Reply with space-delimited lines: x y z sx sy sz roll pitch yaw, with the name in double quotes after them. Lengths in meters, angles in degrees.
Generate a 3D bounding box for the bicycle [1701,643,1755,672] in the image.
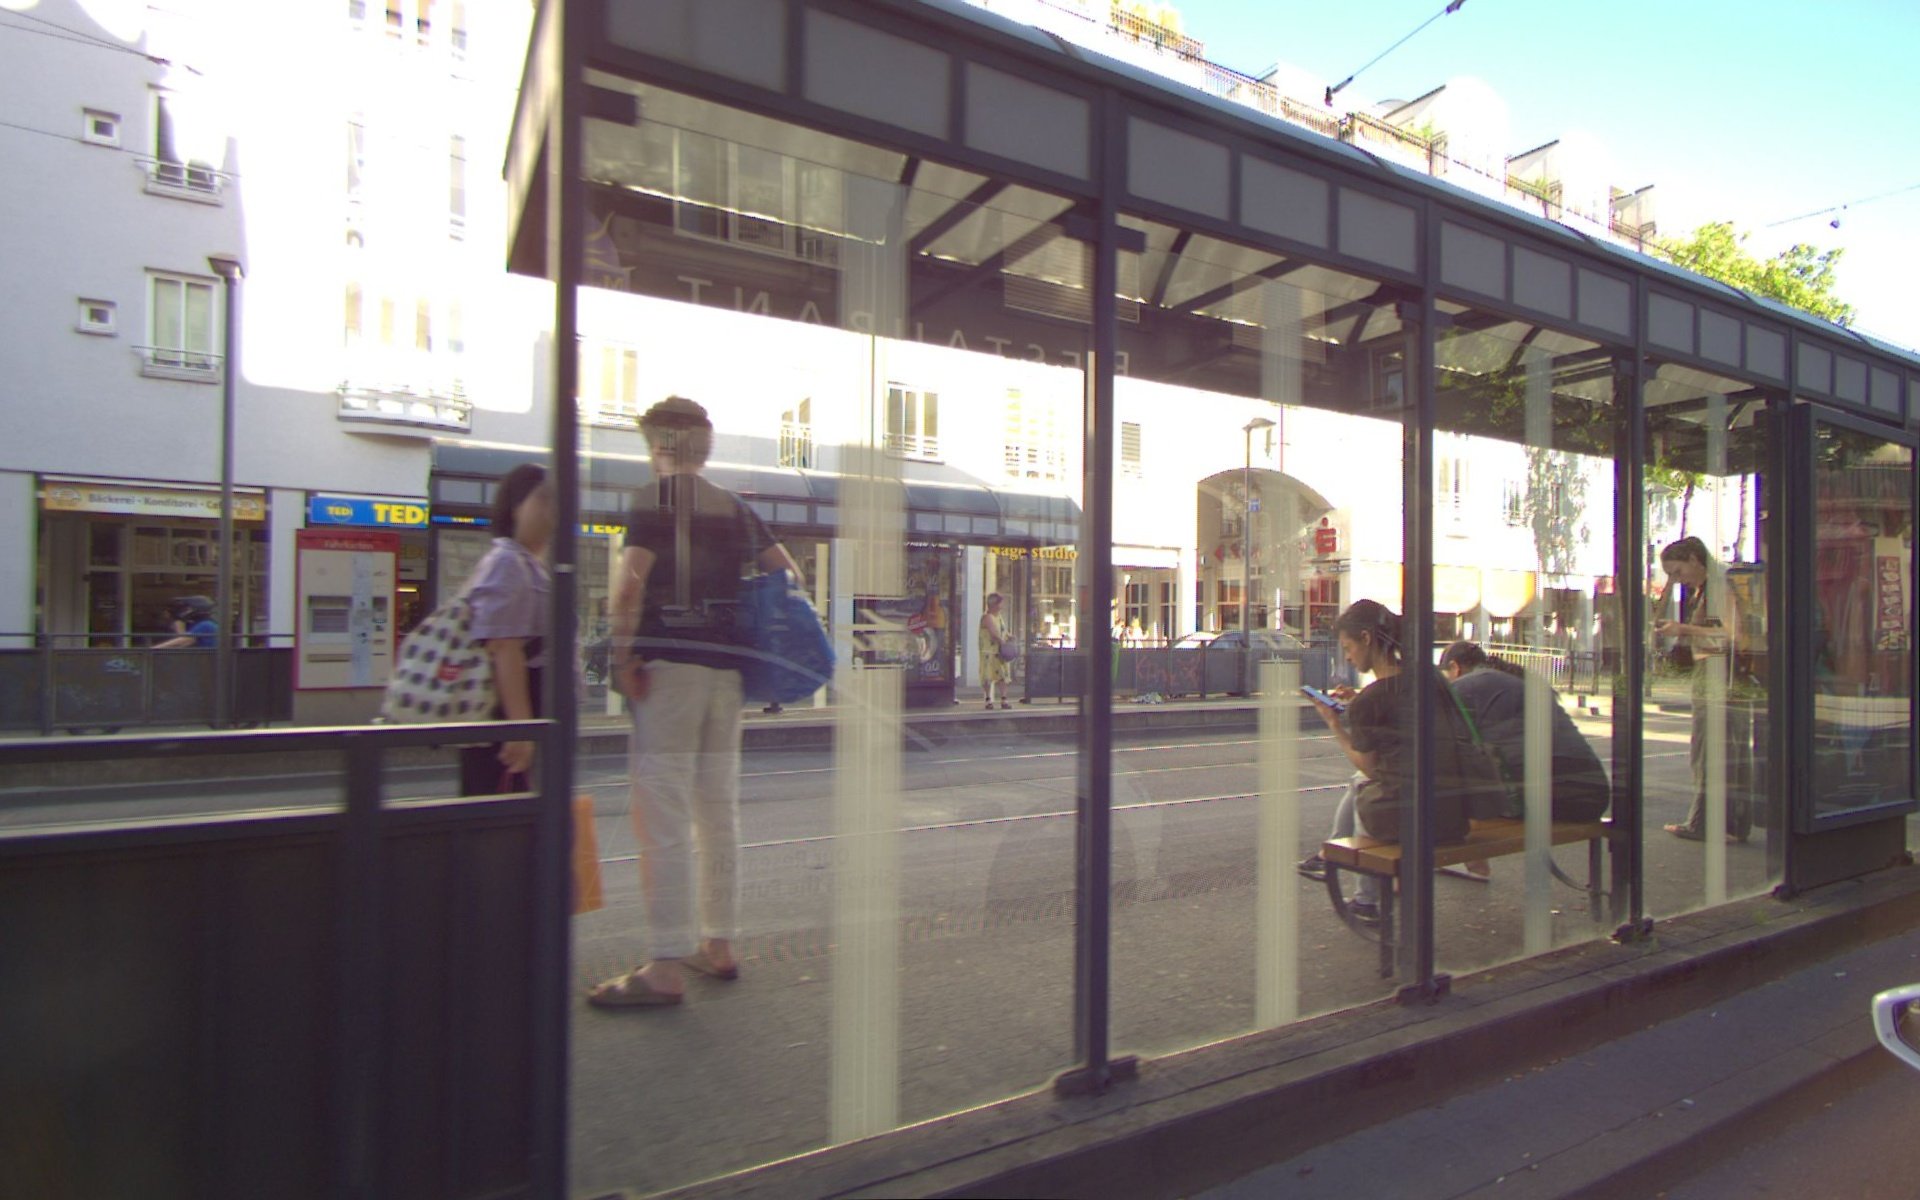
26.354 1.981 34.468 1.465 0.953 0.393 1 -1 5 "bicycle"

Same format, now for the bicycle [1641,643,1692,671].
24.930 2.017 35.430 1.465 0.953 0.393 1 -1 5 "bicycle"

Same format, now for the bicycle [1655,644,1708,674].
24.845 2.027 34.588 1.465 0.953 0.393 1 -1 5 "bicycle"

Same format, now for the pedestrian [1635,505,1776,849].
4.154 0.403 5.641 0.555 1.774 0.718 0 -1 31 "pedestrian"

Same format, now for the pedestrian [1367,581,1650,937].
2.243 0.588 4.147 0.710 1.289 0.761 1 -1 -28 "pedestrian"

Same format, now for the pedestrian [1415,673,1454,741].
11.538 2.586 24.417 0.677 1.580 0.577 1 0 -31 "pedestrian"

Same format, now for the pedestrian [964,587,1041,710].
0.566 0.630 13.456 0.734 1.580 0.727 1 0 -31 "pedestrian"

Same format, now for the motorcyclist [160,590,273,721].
-9.550 0.695 12.946 1.034 1.613 0.749 1 -1 -29 "motorcyclist"

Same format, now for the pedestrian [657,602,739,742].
-3.054 0.808 11.671 0.734 1.548 0.727 1 0 -31 "pedestrian"

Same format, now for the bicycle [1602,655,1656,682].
20.290 2.072 30.460 1.914 0.767 0.563 1 -1 -30 "bicycle"

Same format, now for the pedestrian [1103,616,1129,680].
4.223 1.291 27.167 0.486 1.686 0.359 3 0 -29 "pedestrian"

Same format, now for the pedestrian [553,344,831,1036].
-0.752 0.235 3.001 0.554 1.801 0.720 1 -1 6 "pedestrian"

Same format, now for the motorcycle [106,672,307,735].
-9.604 1.319 12.900 1.983 0.729 0.490 3 0 -30 "motorcycle"

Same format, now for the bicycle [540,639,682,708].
-6.606 1.389 19.047 2.401 1.183 0.905 3 0 -29 "bicycle"

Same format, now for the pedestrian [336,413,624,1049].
-1.306 0.327 2.818 0.460 1.582 0.587 1 -1 6 "pedestrian"

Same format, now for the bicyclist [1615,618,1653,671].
20.461 1.333 30.484 0.768 1.578 0.669 1 0 -29 "bicyclist"

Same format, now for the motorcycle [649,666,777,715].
-4.063 1.489 16.605 1.983 0.729 0.490 3 0 -30 "motorcycle"

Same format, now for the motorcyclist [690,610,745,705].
-4.010 0.954 16.609 0.713 1.522 0.484 3 0 -30 "motorcyclist"

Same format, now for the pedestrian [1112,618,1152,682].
4.563 1.321 26.687 0.835 1.643 0.592 1 -1 -30 "pedestrian"

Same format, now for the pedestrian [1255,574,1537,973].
1.596 0.573 3.725 0.648 1.289 0.708 1 -1 -28 "pedestrian"

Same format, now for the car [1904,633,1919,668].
48.463 2.481 48.418 1.937 1.697 3.963 1 -1 -33 "car"

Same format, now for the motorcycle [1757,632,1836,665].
35.494 2.037 42.671 0.661 1.305 2.498 1 -1 -32 "motorcycle"

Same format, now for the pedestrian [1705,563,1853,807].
5.634 0.557 6.918 0.561 1.579 0.618 2 -1 -30 "pedestrian"

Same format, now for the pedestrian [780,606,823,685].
-3.382 0.957 21.411 0.591 1.643 0.837 1 -1 -35 "pedestrian"
